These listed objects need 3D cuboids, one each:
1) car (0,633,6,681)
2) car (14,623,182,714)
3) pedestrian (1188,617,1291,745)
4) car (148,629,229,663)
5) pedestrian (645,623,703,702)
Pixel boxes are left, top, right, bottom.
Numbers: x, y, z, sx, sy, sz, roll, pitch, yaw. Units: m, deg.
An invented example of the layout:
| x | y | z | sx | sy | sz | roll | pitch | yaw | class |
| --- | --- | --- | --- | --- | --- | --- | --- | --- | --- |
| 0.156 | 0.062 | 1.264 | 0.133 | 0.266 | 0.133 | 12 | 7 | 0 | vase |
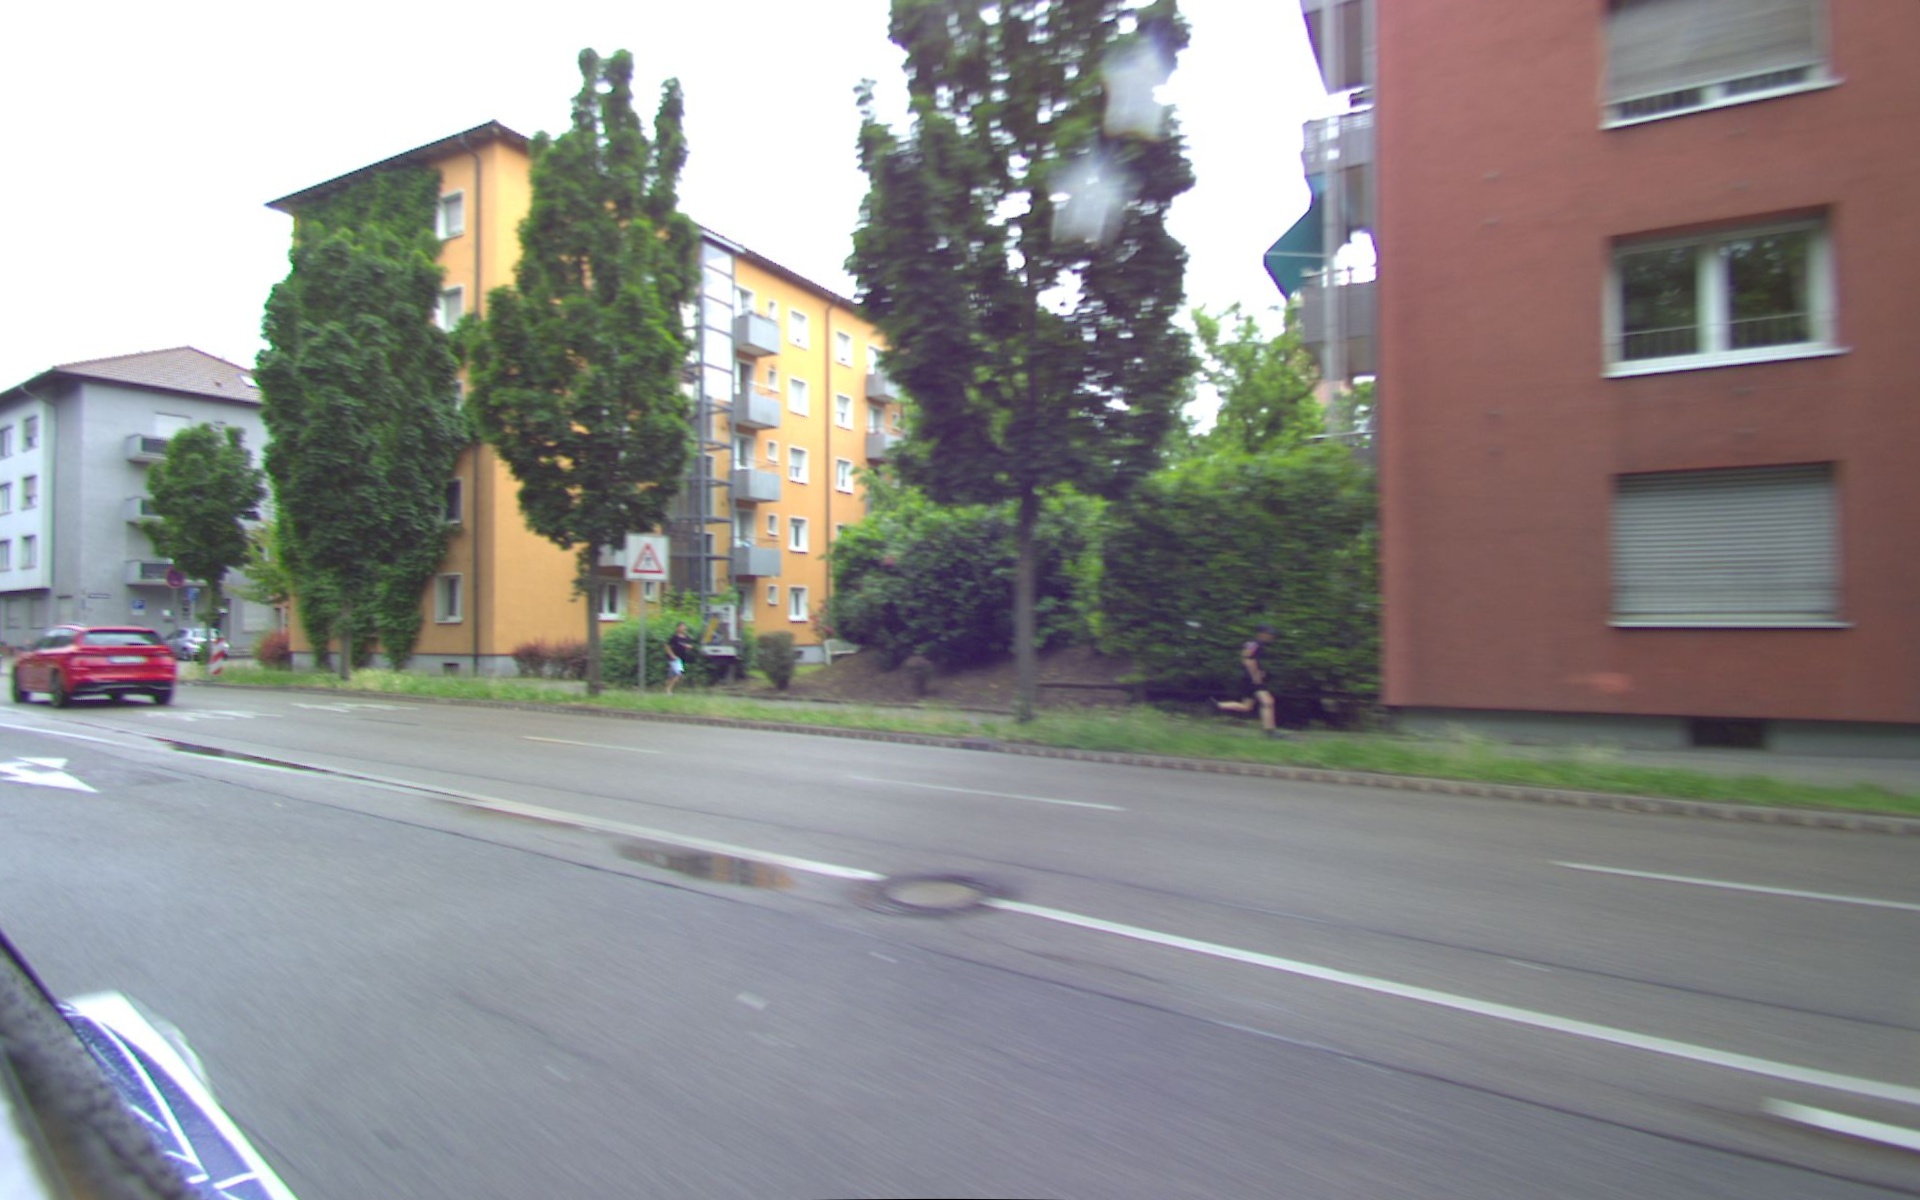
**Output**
| x | y | z | sx | sy | sz | roll | pitch | yaw | class |
| --- | --- | --- | --- | --- | --- | --- | --- | --- | --- |
| -35.128 | 1.956 | 35.028 | 4.485 | 1.643 | 1.908 | -1 | -4 | 31 | car |
| -16.621 | 1.258 | 19.450 | 4.136 | 1.575 | 1.660 | -2 | -2 | 38 | car |
| 3.512 | 0.994 | 12.718 | 1.067 | 1.529 | 0.686 | -2 | -3 | 34 | pedestrian |
| -36.528 | 2.153 | 47.893 | 4.216 | 1.537 | 1.716 | -1 | -3 | 33 | car |
| -5.406 | 1.172 | 19.143 | 0.834 | 1.460 | 0.665 | -2 | -3 | 34 | pedestrian |
